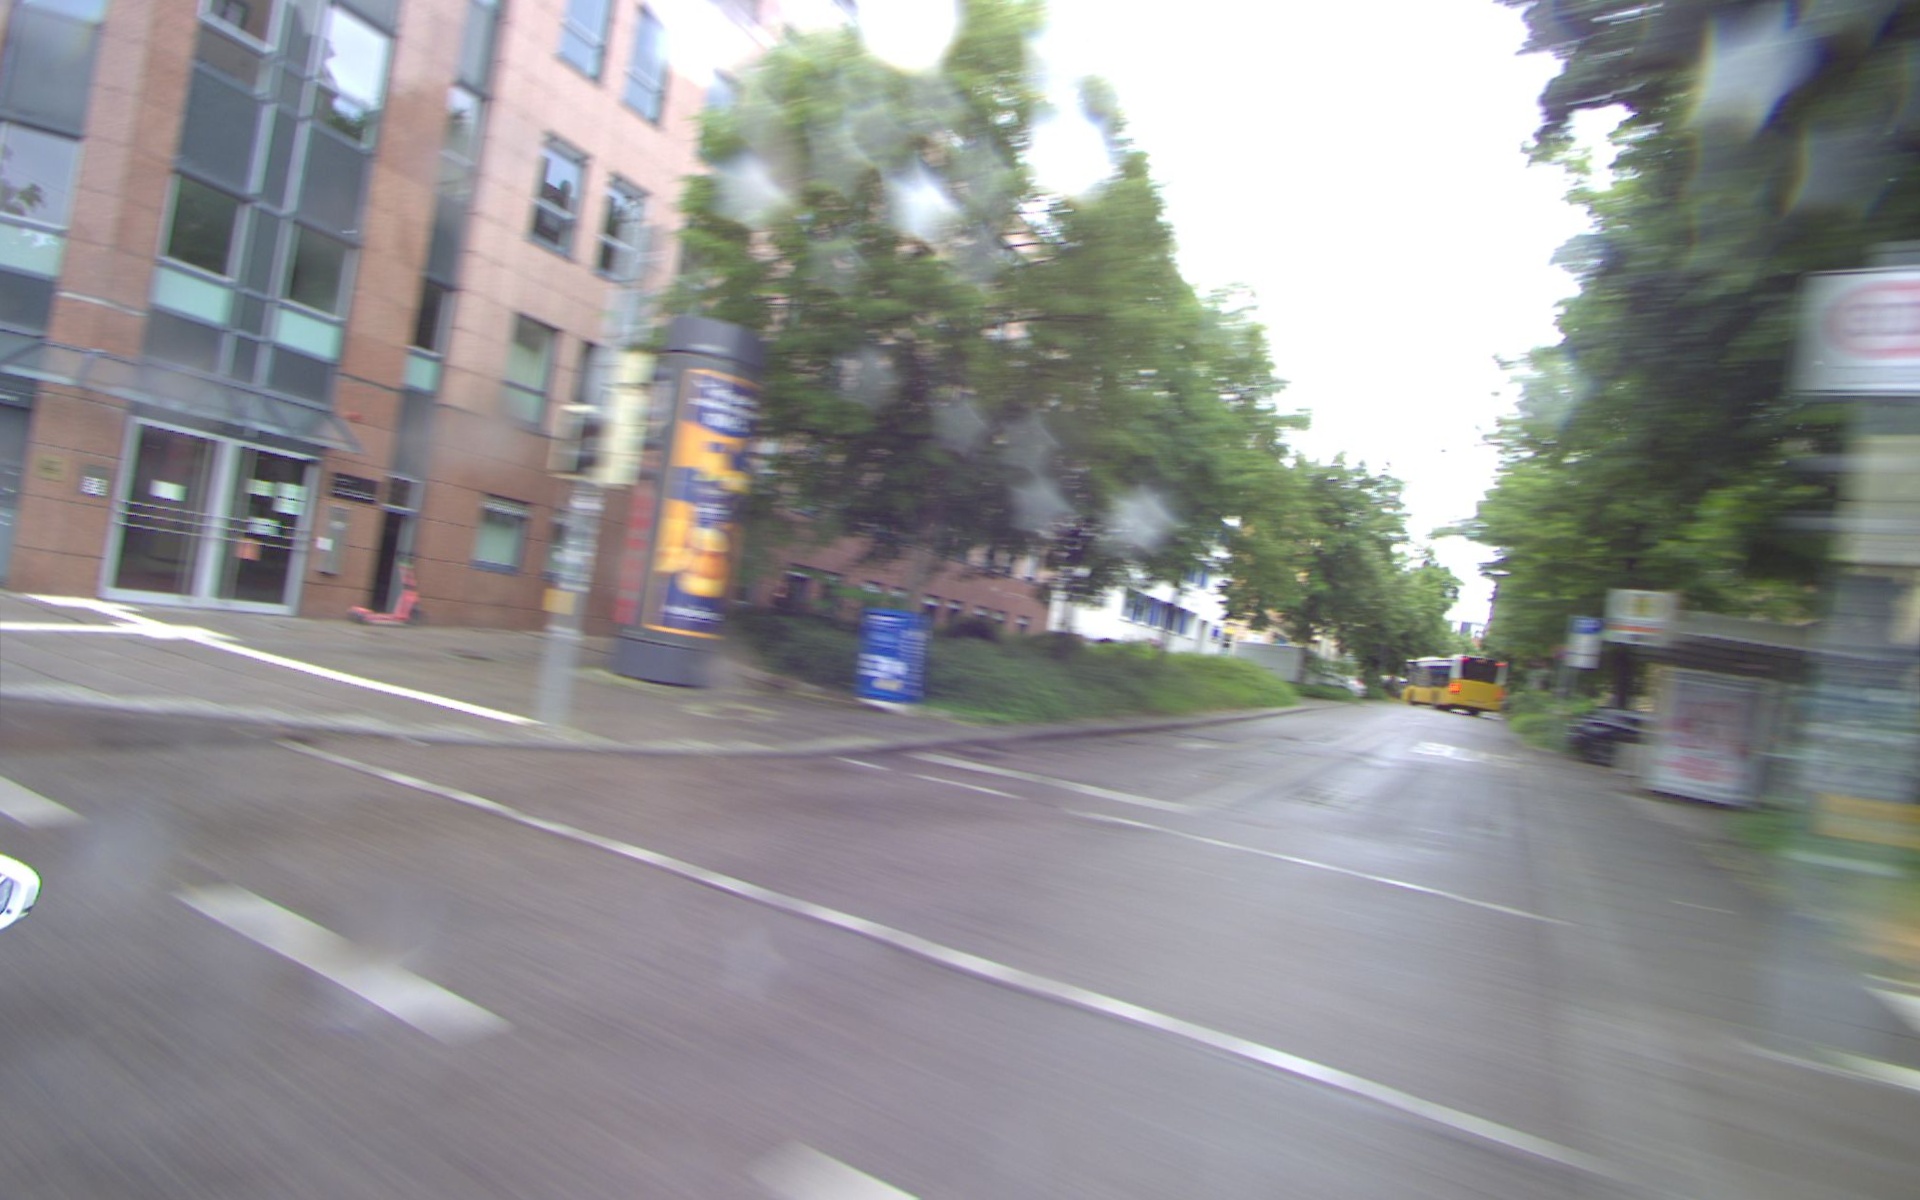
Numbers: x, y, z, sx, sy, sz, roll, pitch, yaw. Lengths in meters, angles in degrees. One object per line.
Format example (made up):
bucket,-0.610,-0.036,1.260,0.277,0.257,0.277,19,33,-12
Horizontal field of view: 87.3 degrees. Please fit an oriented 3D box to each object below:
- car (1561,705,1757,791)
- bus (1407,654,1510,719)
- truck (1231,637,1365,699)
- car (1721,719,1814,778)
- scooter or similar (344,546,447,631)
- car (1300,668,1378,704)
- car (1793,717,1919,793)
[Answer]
car,17.861,3.748,25.927,3.803,1.478,1.677,7,-1,28
bus,28.759,4.882,58.624,2.800,3.053,10.514,7,-1,14
truck,17.195,3.442,51.276,5.979,2.305,2.263,7,-1,28
car,26.108,4.757,32.627,1.645,1.473,3.669,7,-1,30
scooter or similar,-9.242,-0.172,16.511,0.320,1.242,1.376,7,-1,32
car,21.430,4.826,56.944,3.802,1.498,1.700,7,1,30
car,22.527,3.822,25.302,1.645,1.473,3.669,7,-1,30
